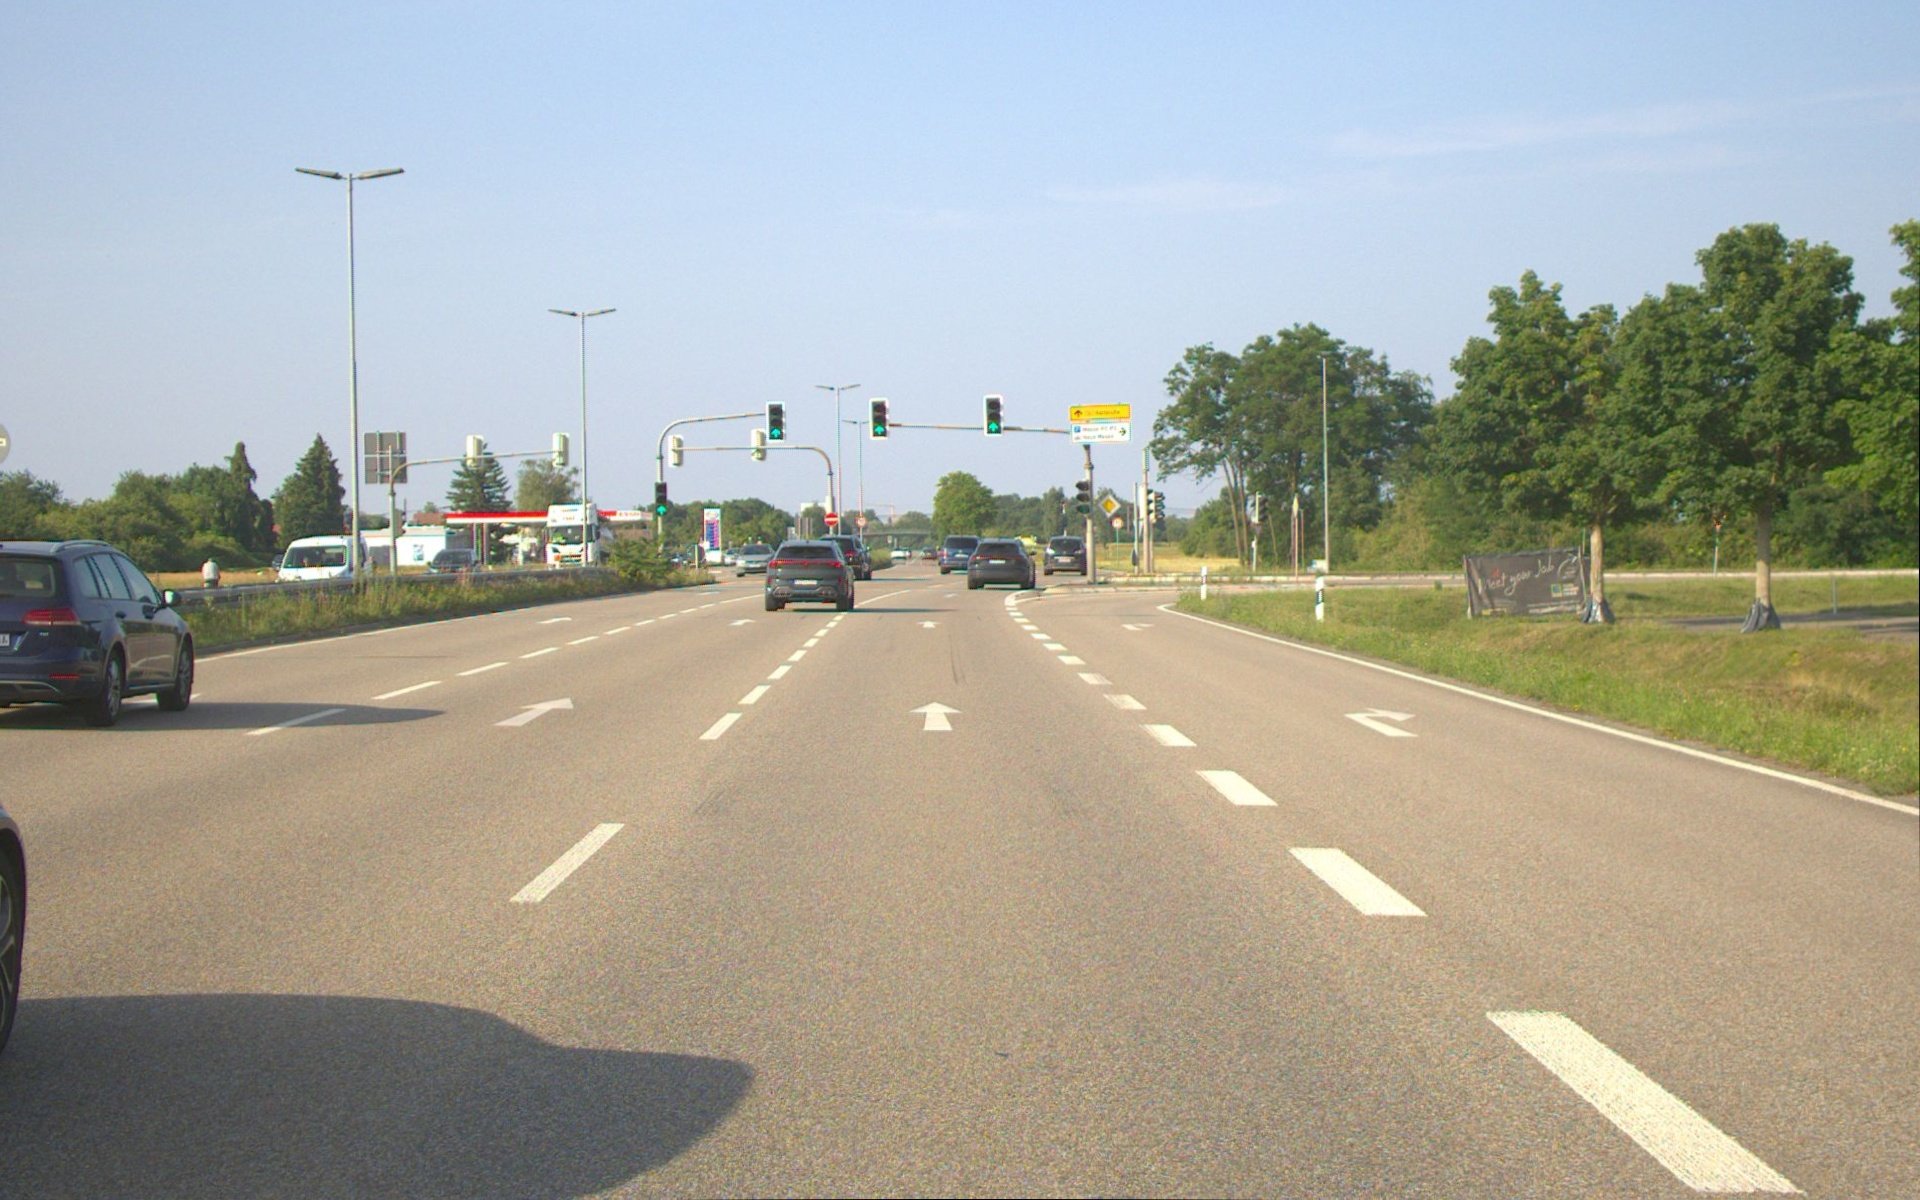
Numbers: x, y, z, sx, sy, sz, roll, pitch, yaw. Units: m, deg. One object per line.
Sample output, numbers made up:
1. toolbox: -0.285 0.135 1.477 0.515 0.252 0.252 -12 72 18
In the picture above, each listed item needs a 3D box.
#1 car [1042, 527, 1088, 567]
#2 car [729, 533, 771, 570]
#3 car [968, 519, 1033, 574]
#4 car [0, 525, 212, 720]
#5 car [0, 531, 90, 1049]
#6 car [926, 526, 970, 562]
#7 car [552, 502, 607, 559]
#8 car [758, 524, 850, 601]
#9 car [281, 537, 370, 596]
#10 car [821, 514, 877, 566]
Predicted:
1. car: 4.376 -2.225 143.831 1.748 1.612 3.758 2 1 -1
2. car: -9.182 -2.142 150.519 1.600 1.527 4.000 2 1 -1
3. car: 1.276 -1.724 110.484 1.932 1.674 4.401 2 1 -1
4. car: -7.504 0.143 28.355 1.646 1.466 4.776 1 0 -1
5. car: -3.498 0.573 8.235 1.572 1.466 5.023 0 1 0
6. car: -0.529 -2.393 146.737 1.812 1.458 4.401 2 1 -1
7. car: -19.388 -3.553 175.463 2.271 2.843 5.249 0 1 -1
8. car: -3.471 -0.863 77.128 1.845 1.606 4.401 2 1 -1
9. car: -15.113 -0.806 82.015 1.521 1.358 3.444 0 1 -1
10. car: -4.116 -2.218 128.050 1.993 1.875 4.000 1 0 -1
